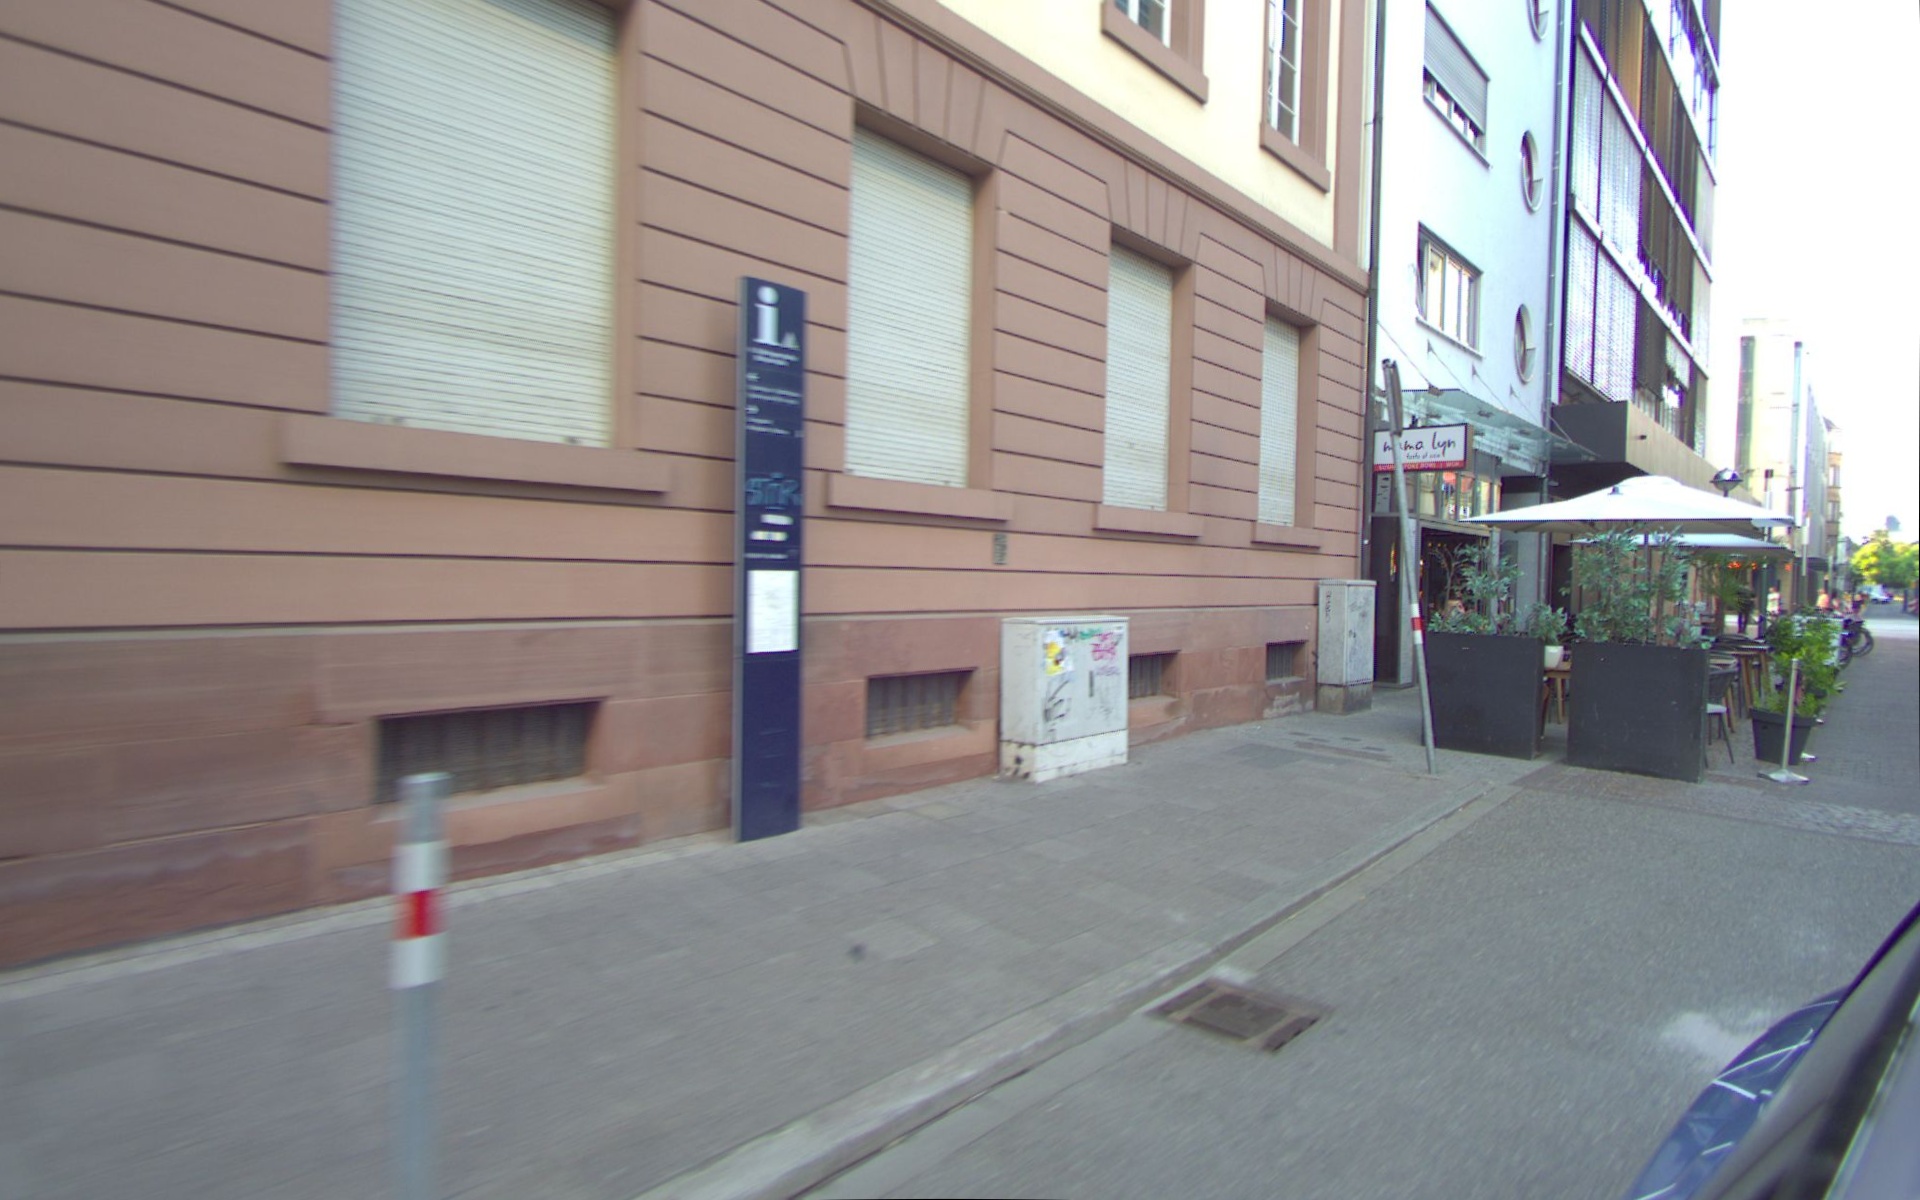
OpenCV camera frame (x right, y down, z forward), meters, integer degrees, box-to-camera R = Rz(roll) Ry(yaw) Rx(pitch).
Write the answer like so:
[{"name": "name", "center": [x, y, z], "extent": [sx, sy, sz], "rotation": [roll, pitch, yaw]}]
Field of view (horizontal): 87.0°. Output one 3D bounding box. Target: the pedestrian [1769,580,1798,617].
[{"name": "pedestrian", "center": [37.657, -0.075, 46.275], "extent": [0.623, 1.641, 0.784], "rotation": [1, 2, -6]}]

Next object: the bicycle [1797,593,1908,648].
[{"name": "bicycle", "center": [22.815, 0.504, 25.924], "extent": [2.034, 1.181, 0.655], "rotation": [6, 5, 43]}]

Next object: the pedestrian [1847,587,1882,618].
[{"name": "pedestrian", "center": [47.871, 0.144, 53.549], "extent": [0.973, 1.592, 0.921], "rotation": [1, 1, -3]}]

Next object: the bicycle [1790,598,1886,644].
[{"name": "bicycle", "center": [25.099, 0.583, 28.959], "extent": [2.033, 1.182, 0.609], "rotation": [3, 2, 43]}]

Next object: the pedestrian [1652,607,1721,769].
[{"name": "pedestrian", "center": [5.782, 0.681, 8.063], "extent": [0.398, 1.228, 0.379], "rotation": [2, 1, 34]}]

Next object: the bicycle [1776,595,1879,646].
[{"name": "bicycle", "center": [23.459, 0.533, 27.404], "extent": [2.034, 1.181, 0.609], "rotation": [7, 5, 43]}]

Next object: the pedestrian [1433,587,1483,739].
[{"name": "pedestrian", "center": [4.535, 0.553, 9.206], "extent": [0.359, 1.322, 0.490], "rotation": [2, 1, 29]}]

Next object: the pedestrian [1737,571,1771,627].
[{"name": "pedestrian", "center": [27.041, -0.055, 34.478], "extent": [0.664, 1.859, 0.802], "rotation": [0, 2, -45]}]

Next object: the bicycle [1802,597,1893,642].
[{"name": "bicycle", "center": [26.824, 0.566, 30.625], "extent": [2.033, 1.231, 0.609], "rotation": [3, 2, 43]}]

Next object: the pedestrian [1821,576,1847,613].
[{"name": "pedestrian", "center": [40.120, -0.244, 46.448], "extent": [0.657, 1.658, 0.765], "rotation": [-1, 3, -40]}]

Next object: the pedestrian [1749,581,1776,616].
[{"name": "pedestrian", "center": [36.832, -0.083, 46.465], "extent": [0.626, 1.543, 0.781], "rotation": [1, 2, 11]}]

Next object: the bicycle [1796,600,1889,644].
[{"name": "bicycle", "center": [26.068, 0.628, 29.921], "extent": [2.033, 1.182, 0.609], "rotation": [3, 2, 43]}]

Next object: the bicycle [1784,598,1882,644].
[{"name": "bicycle", "center": [24.313, 0.568, 28.210], "extent": [2.033, 1.182, 0.609], "rotation": [3, 2, 43]}]

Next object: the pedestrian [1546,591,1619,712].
[{"name": "pedestrian", "center": [7.782, 0.616, 12.652], "extent": [0.574, 1.437, 0.854], "rotation": [2, 2, 44]}]

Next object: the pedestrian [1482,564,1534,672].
[{"name": "pedestrian", "center": [9.299, 0.288, 17.175], "extent": [0.637, 1.794, 0.594], "rotation": [2, 1, 38]}]
